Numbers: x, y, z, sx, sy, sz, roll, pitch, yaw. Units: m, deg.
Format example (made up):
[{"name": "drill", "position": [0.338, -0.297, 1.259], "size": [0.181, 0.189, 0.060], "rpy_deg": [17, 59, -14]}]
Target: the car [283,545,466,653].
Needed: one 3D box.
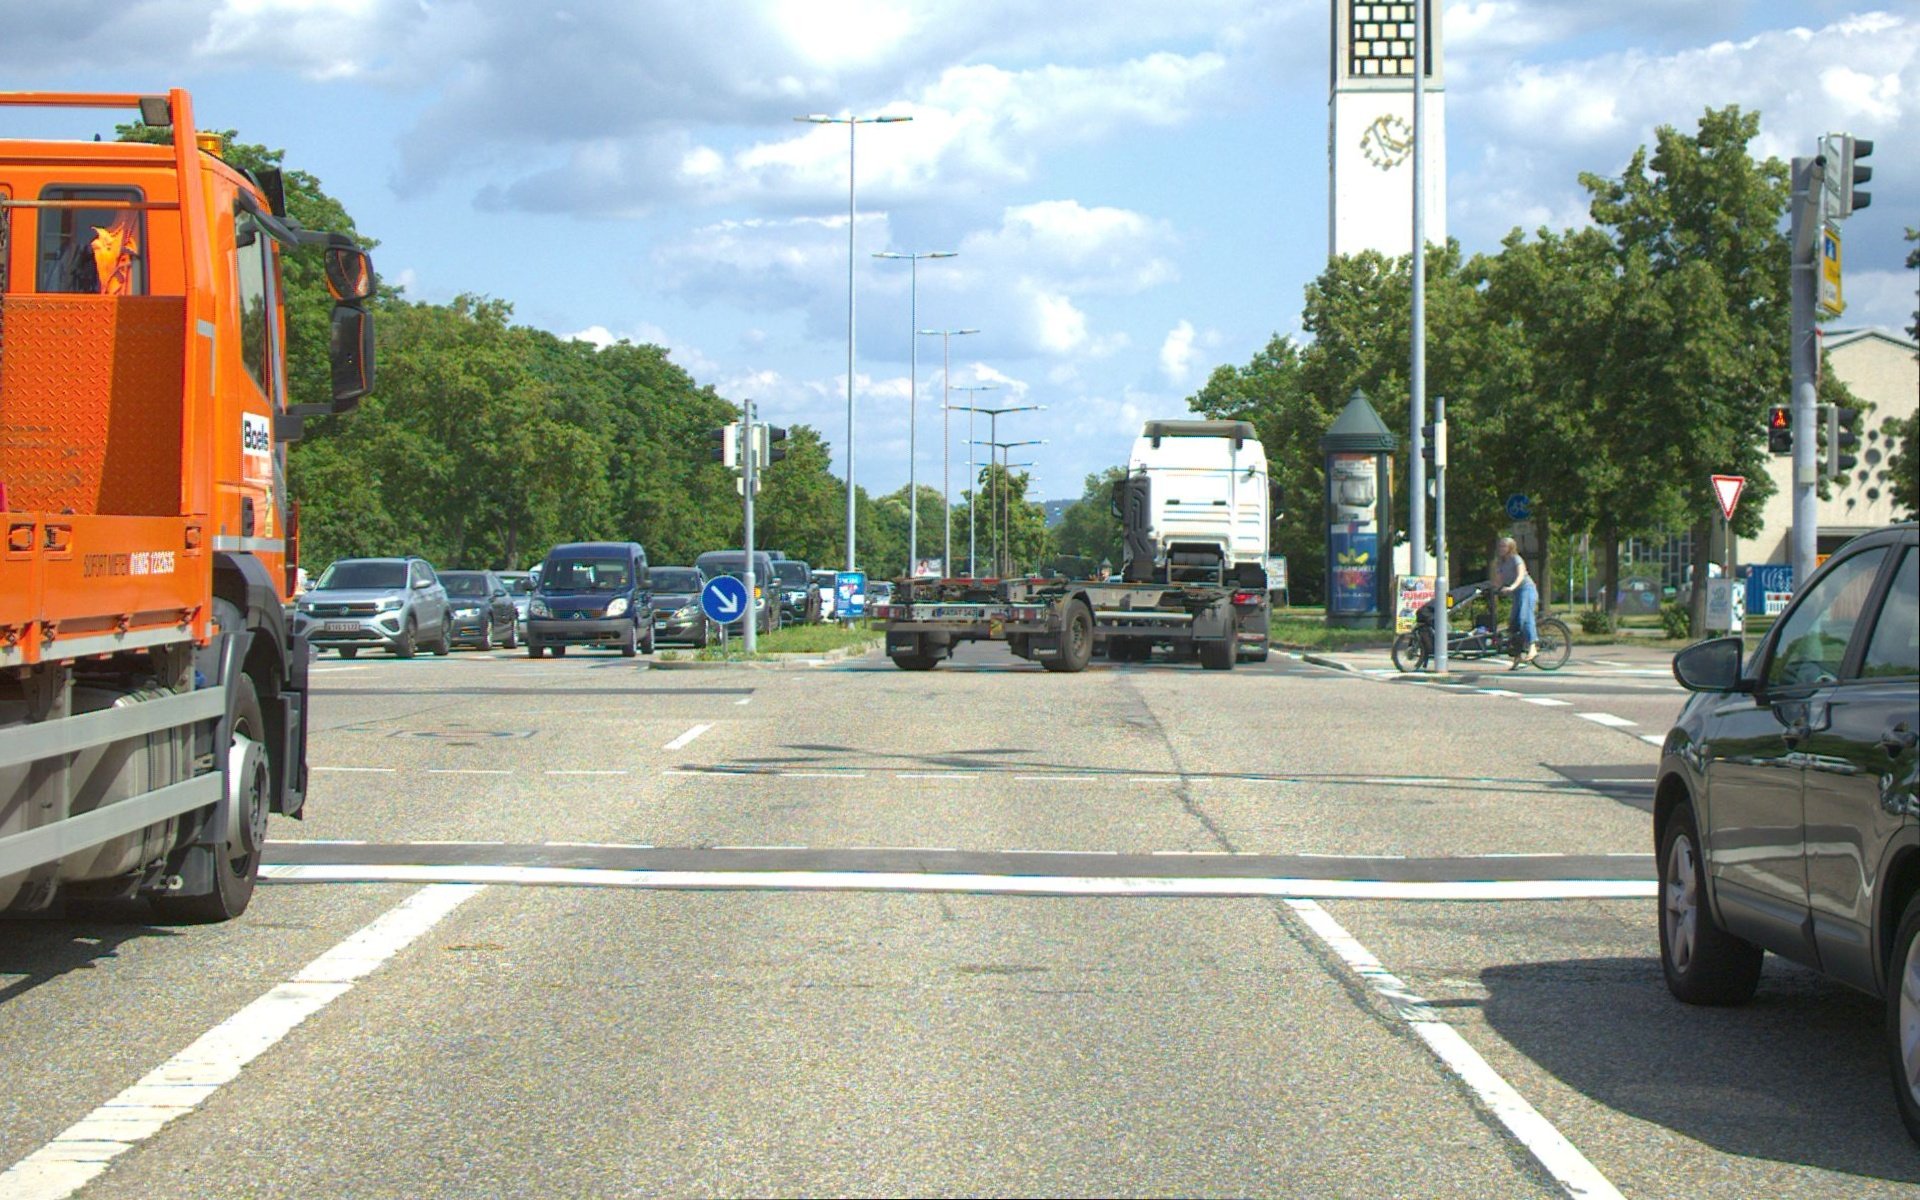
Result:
[{"name": "car", "position": [-9.023, -0.021, 53.322], "size": [1.735, 1.538, 4.308], "rpy_deg": [2, 0, 5]}]

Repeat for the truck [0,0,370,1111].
[{"name": "truck", "position": [-3.909, -0.460, 8.677], "size": [3.070, 3.402, 11.069], "rpy_deg": [2, 0, -1]}]

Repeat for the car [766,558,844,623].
[{"name": "car", "position": [-4.152, -0.251, 92.550], "size": [1.734, 1.654, 4.231], "rpy_deg": [2, 0, 1]}]

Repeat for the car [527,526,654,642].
[{"name": "car", "position": [-5.657, -0.251, 53.005], "size": [1.734, 1.654, 4.232], "rpy_deg": [2, 0, -4]}]

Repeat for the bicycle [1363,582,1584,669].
[{"name": "bicycle", "position": [6.682, 0.326, 44.726], "size": [2.832, 1.108, 0.797], "rpy_deg": [0, 1, -23]}]

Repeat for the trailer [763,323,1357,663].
[{"name": "trailer", "position": [1.721, -1.223, 46.290], "size": [3.625, 3.998, 11.302], "rpy_deg": [1, 0, 26]}]

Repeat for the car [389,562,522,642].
[{"name": "car", "position": [-8.739, 0.025, 59.820], "size": [1.763, 1.347, 3.519], "rpy_deg": [0, 0, 0]}]

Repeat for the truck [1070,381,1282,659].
[{"name": "truck", "position": [3.467, -1.142, 53.904], "size": [2.960, 3.957, 8.636], "rpy_deg": [1, 0, 5]}]

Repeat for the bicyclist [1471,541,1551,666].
[{"name": "bicyclist", "position": [7.199, 0.039, 44.931], "size": [0.698, 1.610, 0.797], "rpy_deg": [0, 1, -23]}]

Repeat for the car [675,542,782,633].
[{"name": "car", "position": [-4.563, -0.286, 68.278], "size": [1.734, 1.654, 4.231], "rpy_deg": [2, 1, 1]}]

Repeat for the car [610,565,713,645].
[{"name": "car", "position": [-5.236, 0.080, 60.686], "size": [1.568, 1.311, 3.432], "rpy_deg": [2, 0, -2]}]

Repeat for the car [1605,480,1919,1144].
[{"name": "car", "position": [3.116, 0.514, 9.435], "size": [1.799, 1.547, 4.000], "rpy_deg": [2, 0, -1]}]
